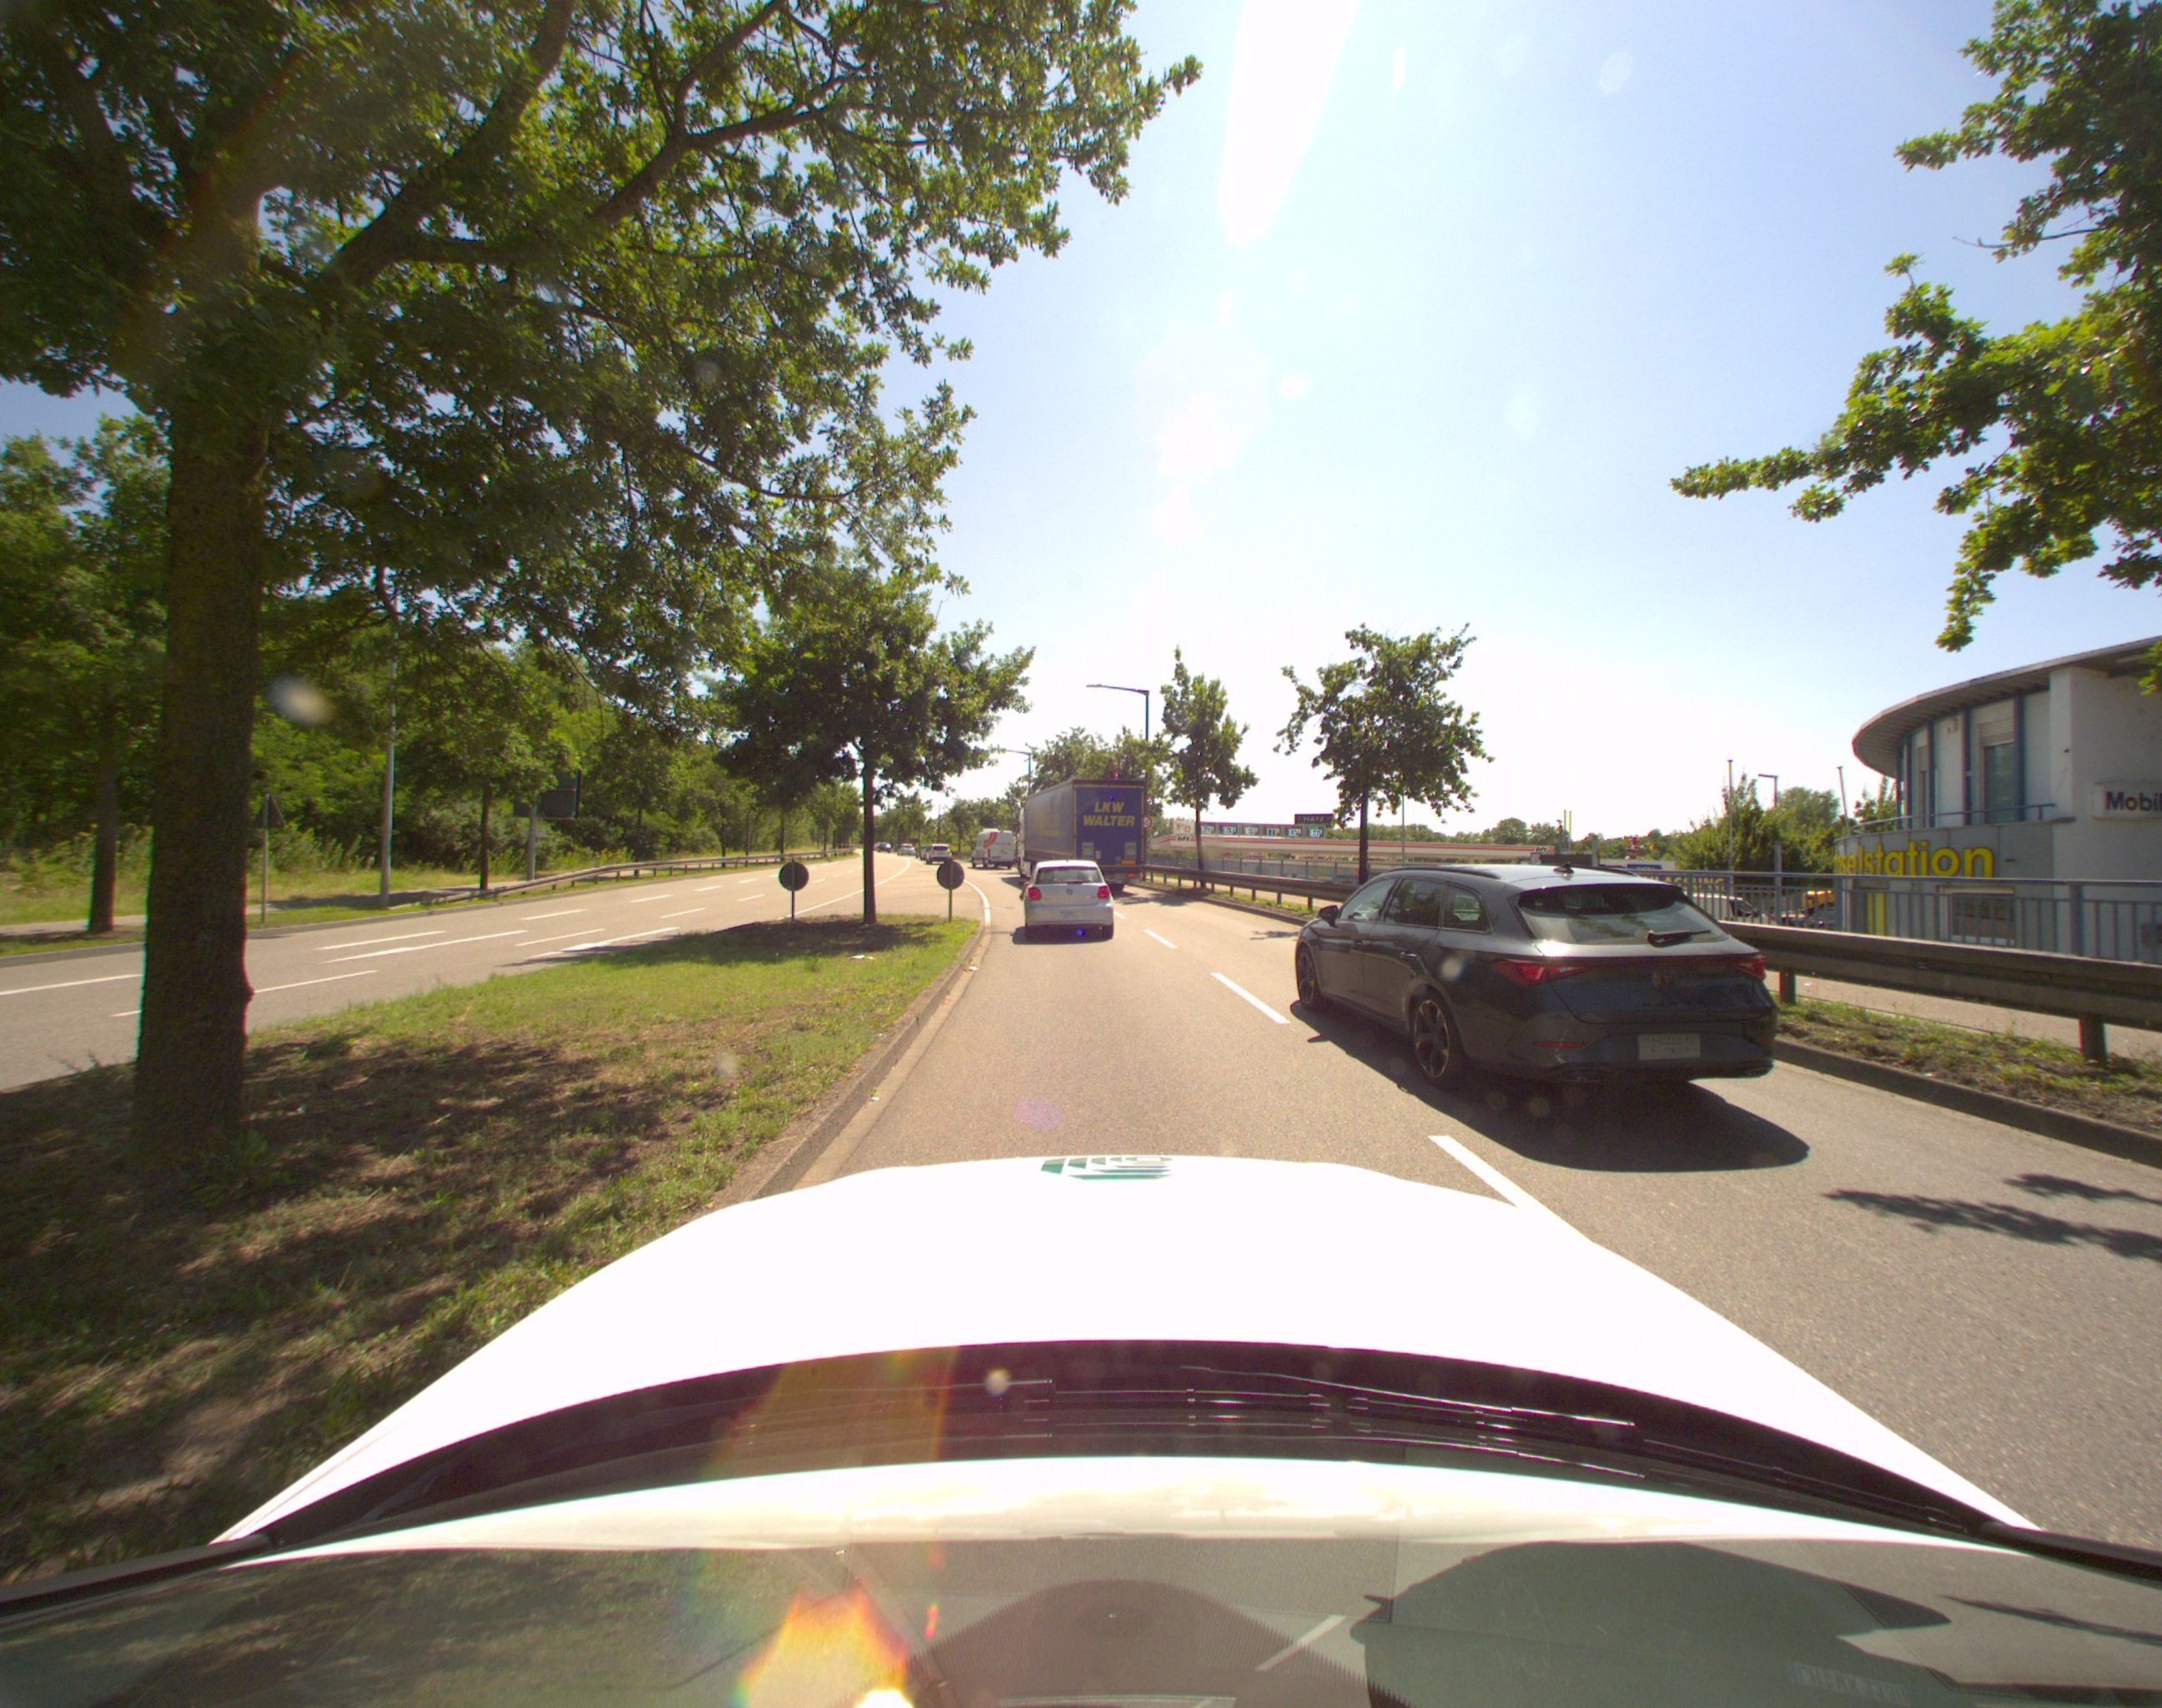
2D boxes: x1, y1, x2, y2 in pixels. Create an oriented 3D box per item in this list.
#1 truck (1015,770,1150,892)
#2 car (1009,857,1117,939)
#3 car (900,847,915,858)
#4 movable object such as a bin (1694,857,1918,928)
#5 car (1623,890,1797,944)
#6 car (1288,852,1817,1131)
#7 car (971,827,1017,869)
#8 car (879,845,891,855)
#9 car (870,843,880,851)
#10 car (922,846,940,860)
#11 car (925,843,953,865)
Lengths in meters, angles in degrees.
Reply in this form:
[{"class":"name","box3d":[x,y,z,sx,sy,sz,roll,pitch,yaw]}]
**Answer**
[{"class":"truck","box3d":[-0.555,-0.726,36.319,2.834,4.198,16.409,0,-1,-11]},{"class":"car","box3d":[-0.461,0.814,16.250,1.646,1.439,3.524,0,-1,-10]},{"class":"car","box3d":[-21.600,-0.206,101.388,1.611,1.360,3.642,1,0,-16]},{"class":"movable object such as a bin","box3d":[40.098,2.088,45.133,11.042,3.708,3.027,0,-1,-10]},{"class":"car","box3d":[20.673,2.060,26.885,4.582,1.660,1.595,0,-1,-2]},{"class":"car","box3d":[3.040,0.767,6.421,1.601,1.456,4.231,0,-1,-2]},{"class":"car","box3d":[-6.355,-0.449,58.906,2.181,2.900,6.322,1,0,-17]},{"class":"car","box3d":[-29.330,-0.605,121.965,1.666,1.465,3.566,1,-1,-12]},{"class":"car","box3d":[-34.784,-1.197,137.711,1.458,1.314,3.622,1,-1,-12]},{"class":"car","box3d":[-14.622,-0.073,79.315,1.496,1.360,3.645,0,0,-14]},{"class":"car","box3d":[-11.996,0.038,68.679,1.906,1.718,4.202,1,-1,-15]}]
